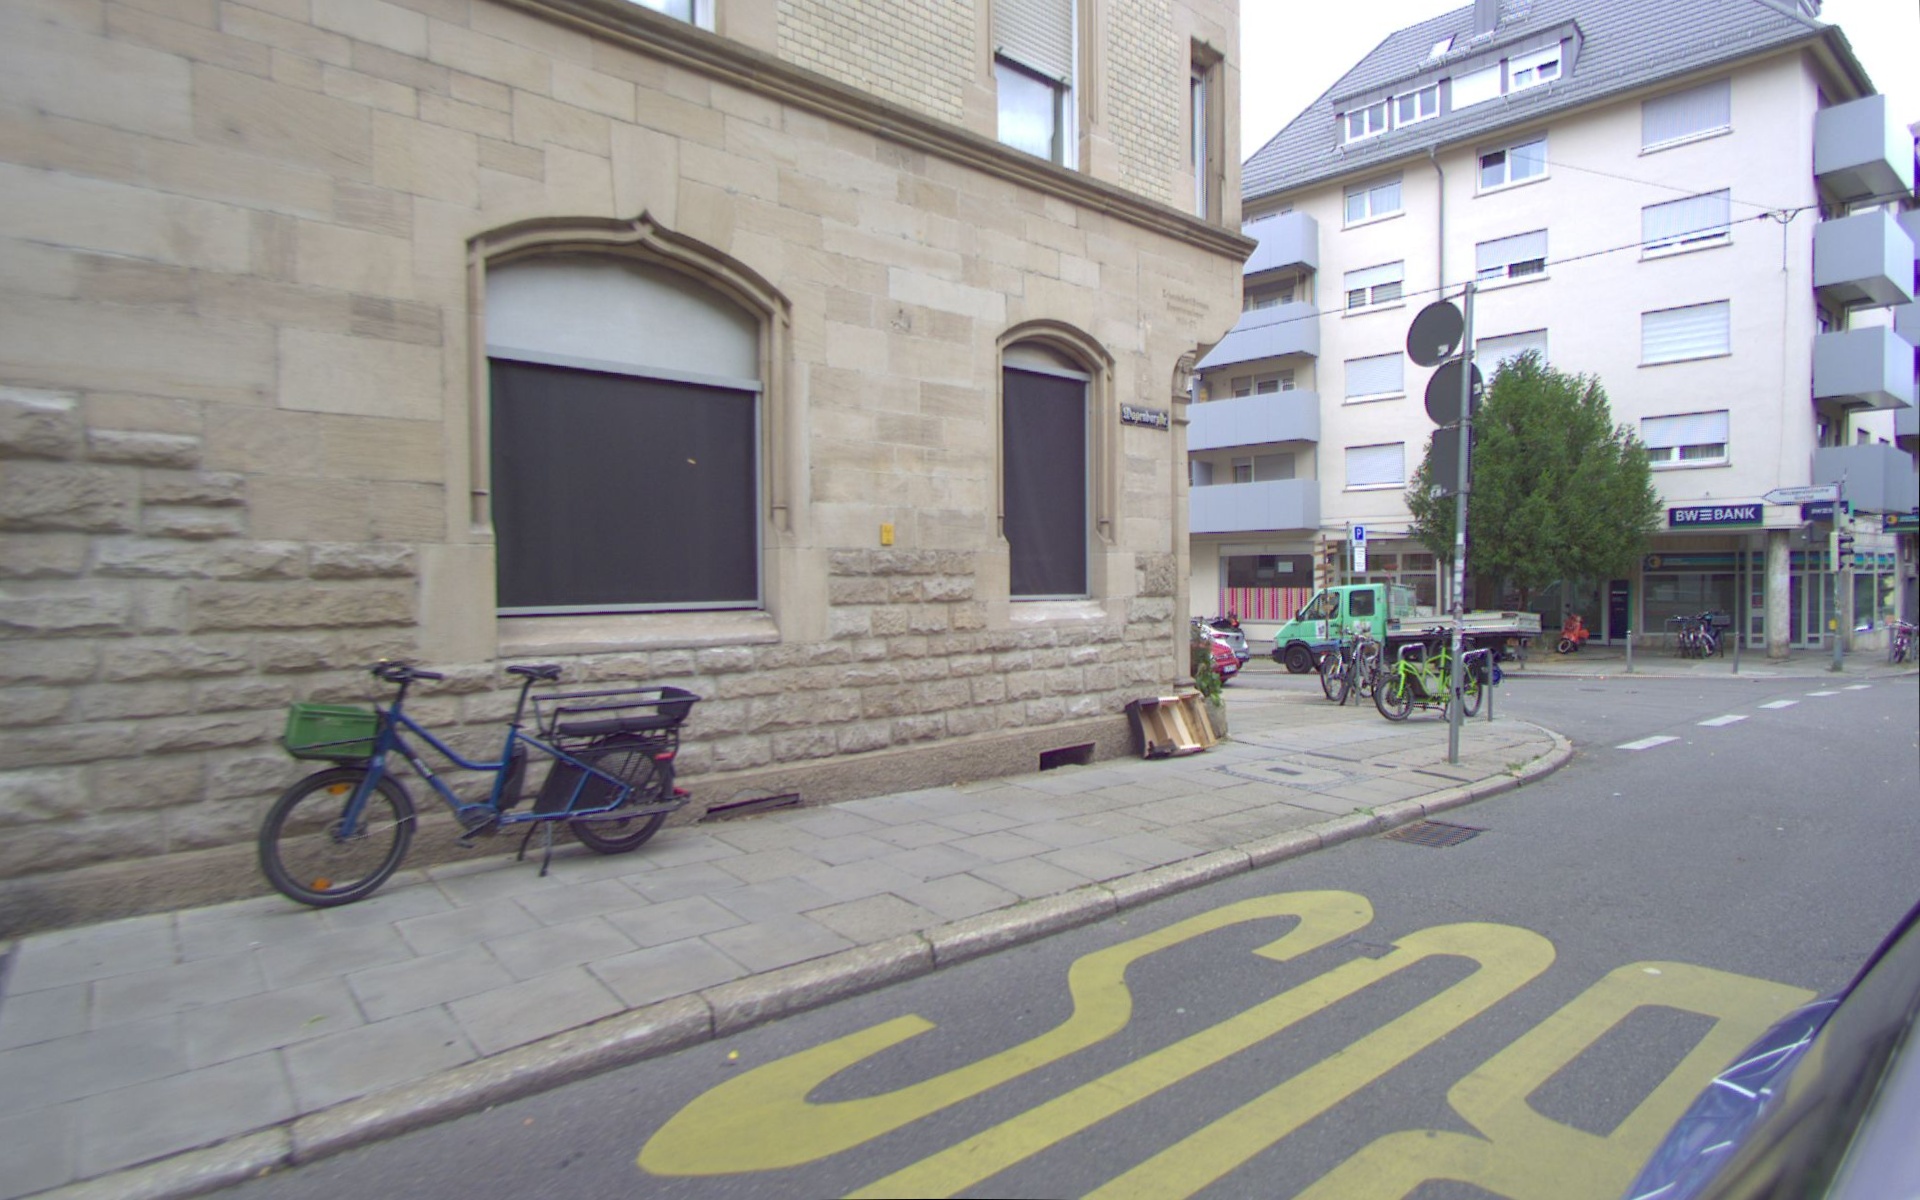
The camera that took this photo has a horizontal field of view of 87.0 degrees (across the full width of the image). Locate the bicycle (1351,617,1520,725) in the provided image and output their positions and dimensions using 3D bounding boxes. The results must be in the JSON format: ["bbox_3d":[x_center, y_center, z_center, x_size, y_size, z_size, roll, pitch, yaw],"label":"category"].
[{"bbox_3d":[5.809,0.817,12.248,2.887,1.164,0.683,2,-1,-40],"label":"bicycle"}]

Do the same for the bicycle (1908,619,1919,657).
[{"bbox_3d":[23.621,0.923,24.917,1.261,0.919,0.154,0,-1,-36],"label":"bicycle"}]

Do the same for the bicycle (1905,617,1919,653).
[{"bbox_3d":[25.588,0.925,26.897,1.261,0.919,0.442,0,-1,-36],"label":"bicycle"}]

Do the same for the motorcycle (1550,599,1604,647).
[{"bbox_3d":[16.467,0.588,26.988,1.896,1.211,0.591,0,2,-39],"label":"motorcycle"}]

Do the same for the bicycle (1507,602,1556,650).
[{"bbox_3d":[15.485,0.687,27.400,1.849,1.271,0.439,0,-1,-37],"label":"bicycle"}]

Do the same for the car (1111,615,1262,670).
[{"bbox_3d":[6.137,1.111,27.699,3.783,1.393,1.539,-1,-1,42],"label":"car"}]

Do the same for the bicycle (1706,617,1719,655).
[{"bbox_3d":[19.041,0.895,25.611,0.120,0.919,1.265,-1,-1,43],"label":"bicycle"}]

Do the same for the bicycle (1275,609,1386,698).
[{"bbox_3d":[5.739,0.782,15.597,2.343,1.293,0.459,0,-1,-39],"label":"bicycle"}]

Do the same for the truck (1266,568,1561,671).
[{"bbox_3d":[10.521,0.532,23.858,5.838,2.134,2.513,-3,-4,43],"label":"truck"}]

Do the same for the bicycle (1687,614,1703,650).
[{"bbox_3d":[19.379,0.841,26.687,0.184,0.919,1.217,-1,-1,43],"label":"bicycle"}]

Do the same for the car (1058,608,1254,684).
[{"bbox_3d":[4.215,0.993,22.207,1.640,1.514,3.998,2,-3,-44],"label":"car"}]

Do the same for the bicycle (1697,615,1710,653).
[{"bbox_3d":[19.008,0.856,25.874,0.141,0.918,1.231,0,1,43],"label":"bicycle"}]

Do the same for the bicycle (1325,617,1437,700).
[{"bbox_3d":[6.300,0.846,15.098,2.021,1.164,0.683,2,-3,-40],"label":"bicycle"}]

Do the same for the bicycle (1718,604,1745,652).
[{"bbox_3d":[19.951,0.716,26.170,0.399,1.220,1.265,-2,-2,43],"label":"bicycle"}]

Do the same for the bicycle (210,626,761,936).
[{"bbox_3d":[-2.264,0.757,5.129,2.439,1.164,0.683,-1,1,-40],"label":"bicycle"}]

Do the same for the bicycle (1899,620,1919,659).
[{"bbox_3d":[23.506,0.965,25.038,1.261,0.919,0.154,0,-1,-36],"label":"bicycle"}]
